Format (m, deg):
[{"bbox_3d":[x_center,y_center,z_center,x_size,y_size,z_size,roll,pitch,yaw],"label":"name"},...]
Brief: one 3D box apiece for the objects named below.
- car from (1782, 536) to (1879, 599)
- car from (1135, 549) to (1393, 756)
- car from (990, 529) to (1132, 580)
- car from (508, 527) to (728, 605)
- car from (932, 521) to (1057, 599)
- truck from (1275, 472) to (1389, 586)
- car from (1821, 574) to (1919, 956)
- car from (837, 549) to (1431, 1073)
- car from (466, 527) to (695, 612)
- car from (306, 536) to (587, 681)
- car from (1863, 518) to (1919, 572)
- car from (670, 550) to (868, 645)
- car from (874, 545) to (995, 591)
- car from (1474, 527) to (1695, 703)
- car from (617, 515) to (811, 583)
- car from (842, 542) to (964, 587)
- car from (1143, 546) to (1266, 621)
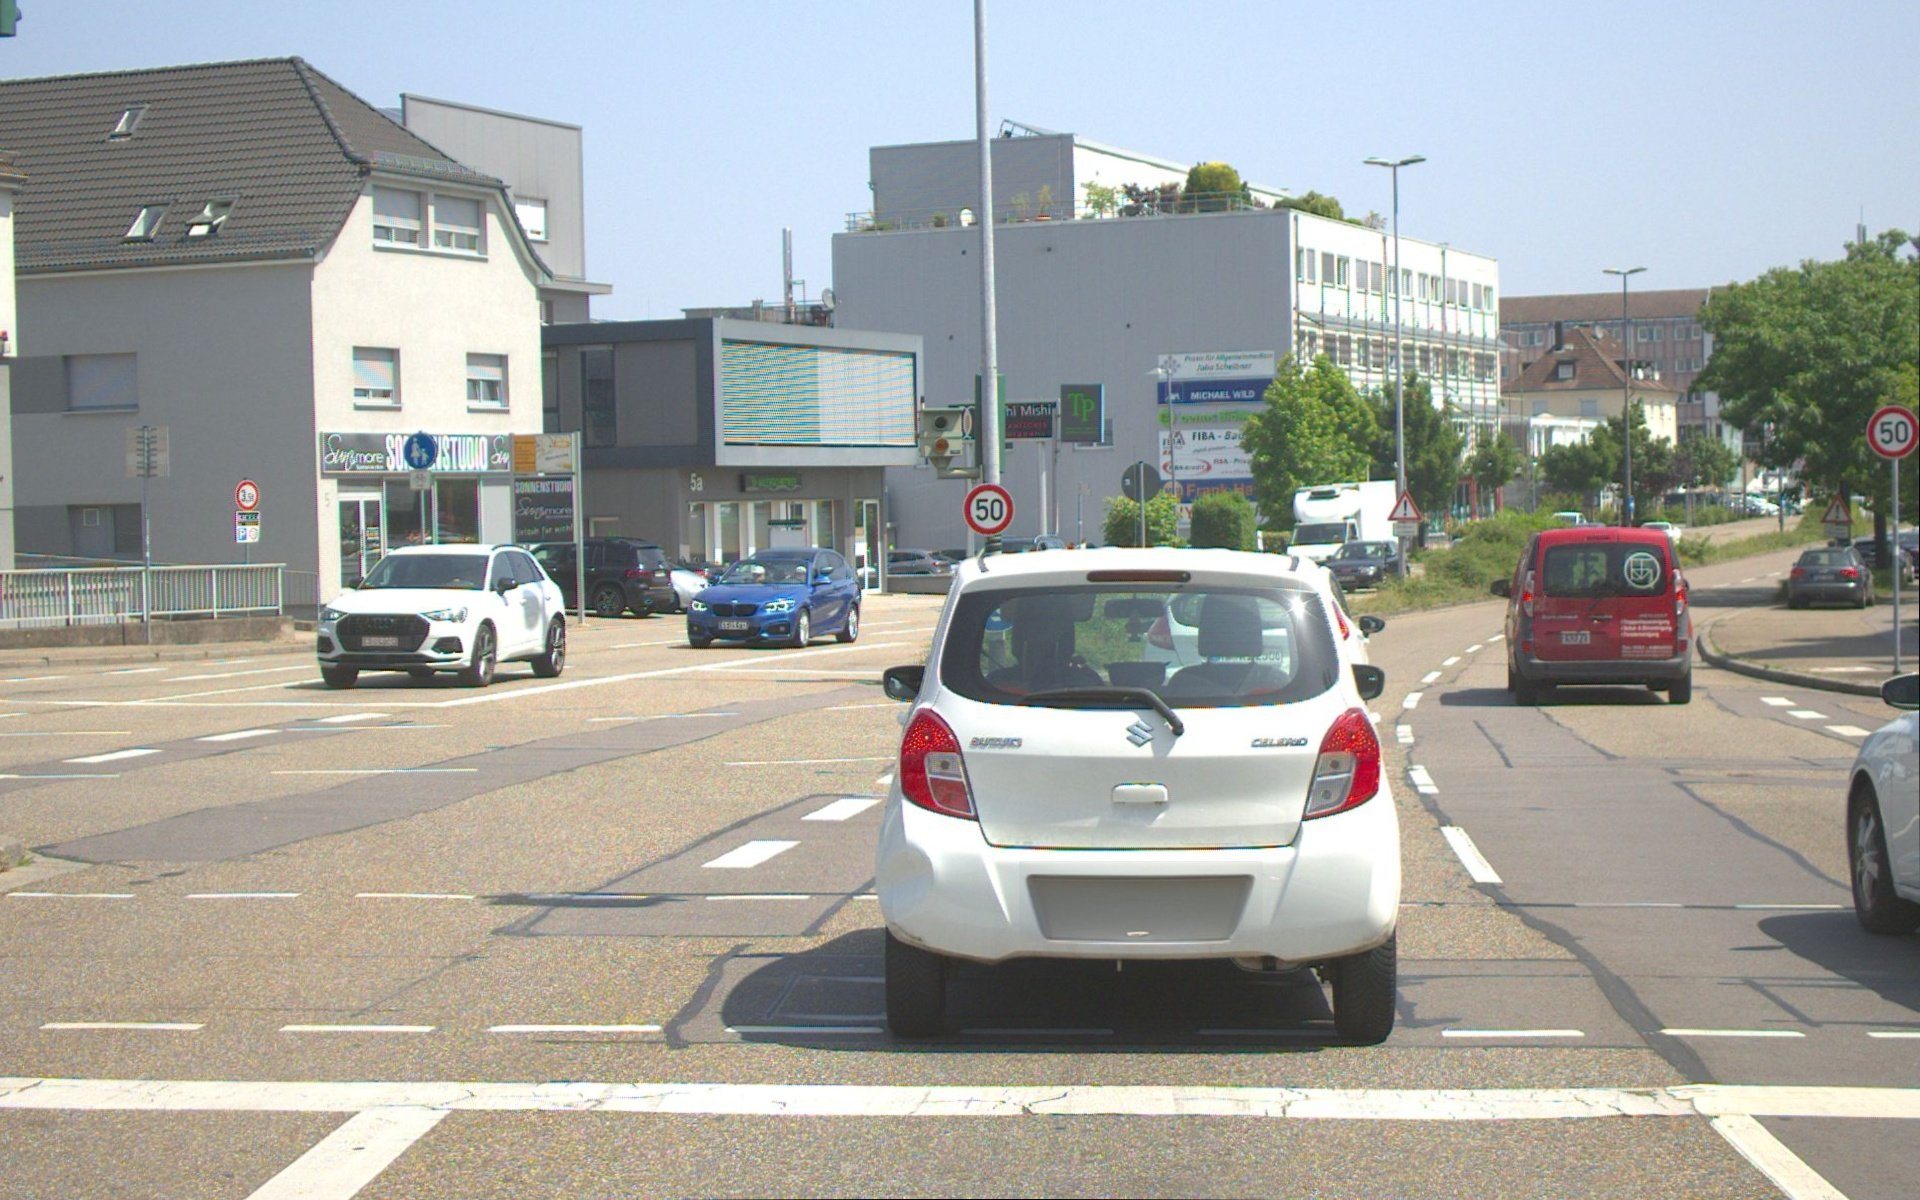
[{"bbox_3d":[20.566,-0.794,81.110,1.799,1.401,4.316,1,2,20],"label":"car"},{"bbox_3d":[2.382,0.345,26.513,1.830,1.445,3.999,0,1,6],"label":"car"},{"bbox_3d":[3.133,-1.421,106.882,4.002,1.366,1.667,-2,2,24],"label":"car"},{"bbox_3d":[-7.766,-0.795,78.210,4.608,1.491,1.751,3,2,13],"label":"car"},{"bbox_3d":[0.833,-0.930,78.250,1.994,1.650,4.592,-1,1,11],"label":"car"},{"bbox_3d":[11.537,-2.153,106.048,2.266,3.406,7.033,1,0,16],"label":"truck"},{"bbox_3d":[4.367,0.619,12.280,1.667,1.394,3.793,0,1,1],"label":"car"},{"bbox_3d":[0.521,0.598,11.603,1.712,1.505,3.247,0,0,1],"label":"car"},{"bbox_3d":[-8.302,-0.691,75.246,4.611,1.621,1.852,3,2,21],"label":"car"},{"bbox_3d":[-5.856,0.052,39.774,1.817,1.565,4.554,1,1,11],"label":"car"},{"bbox_3d":[29.938,-1.777,108.793,1.963,1.525,5.156,-3,1,21],"label":"car"},{"bbox_3d":[-2.862,-0.070,52.506,1.864,1.361,4.344,1,1,13],"label":"car"},{"bbox_3d":[-0.942,-1.197,127.607,3.978,1.462,2.071,-3,1,19],"label":"car"},{"bbox_3d":[6.461,0.110,35.941,1.795,1.723,3.972,0,1,3],"label":"car"},{"bbox_3d":[-5.793,-1.202,81.067,4.060,1.516,1.998,-1,1,18],"label":"car"},{"bbox_3d":[-2.046,-1.283,124.432,3.974,1.462,1.963,-1,2,16],"label":"car"},{"bbox_3d":[4.963,-0.356,69.339,1.864,1.426,4.742,0,1,12],"label":"car"}]
